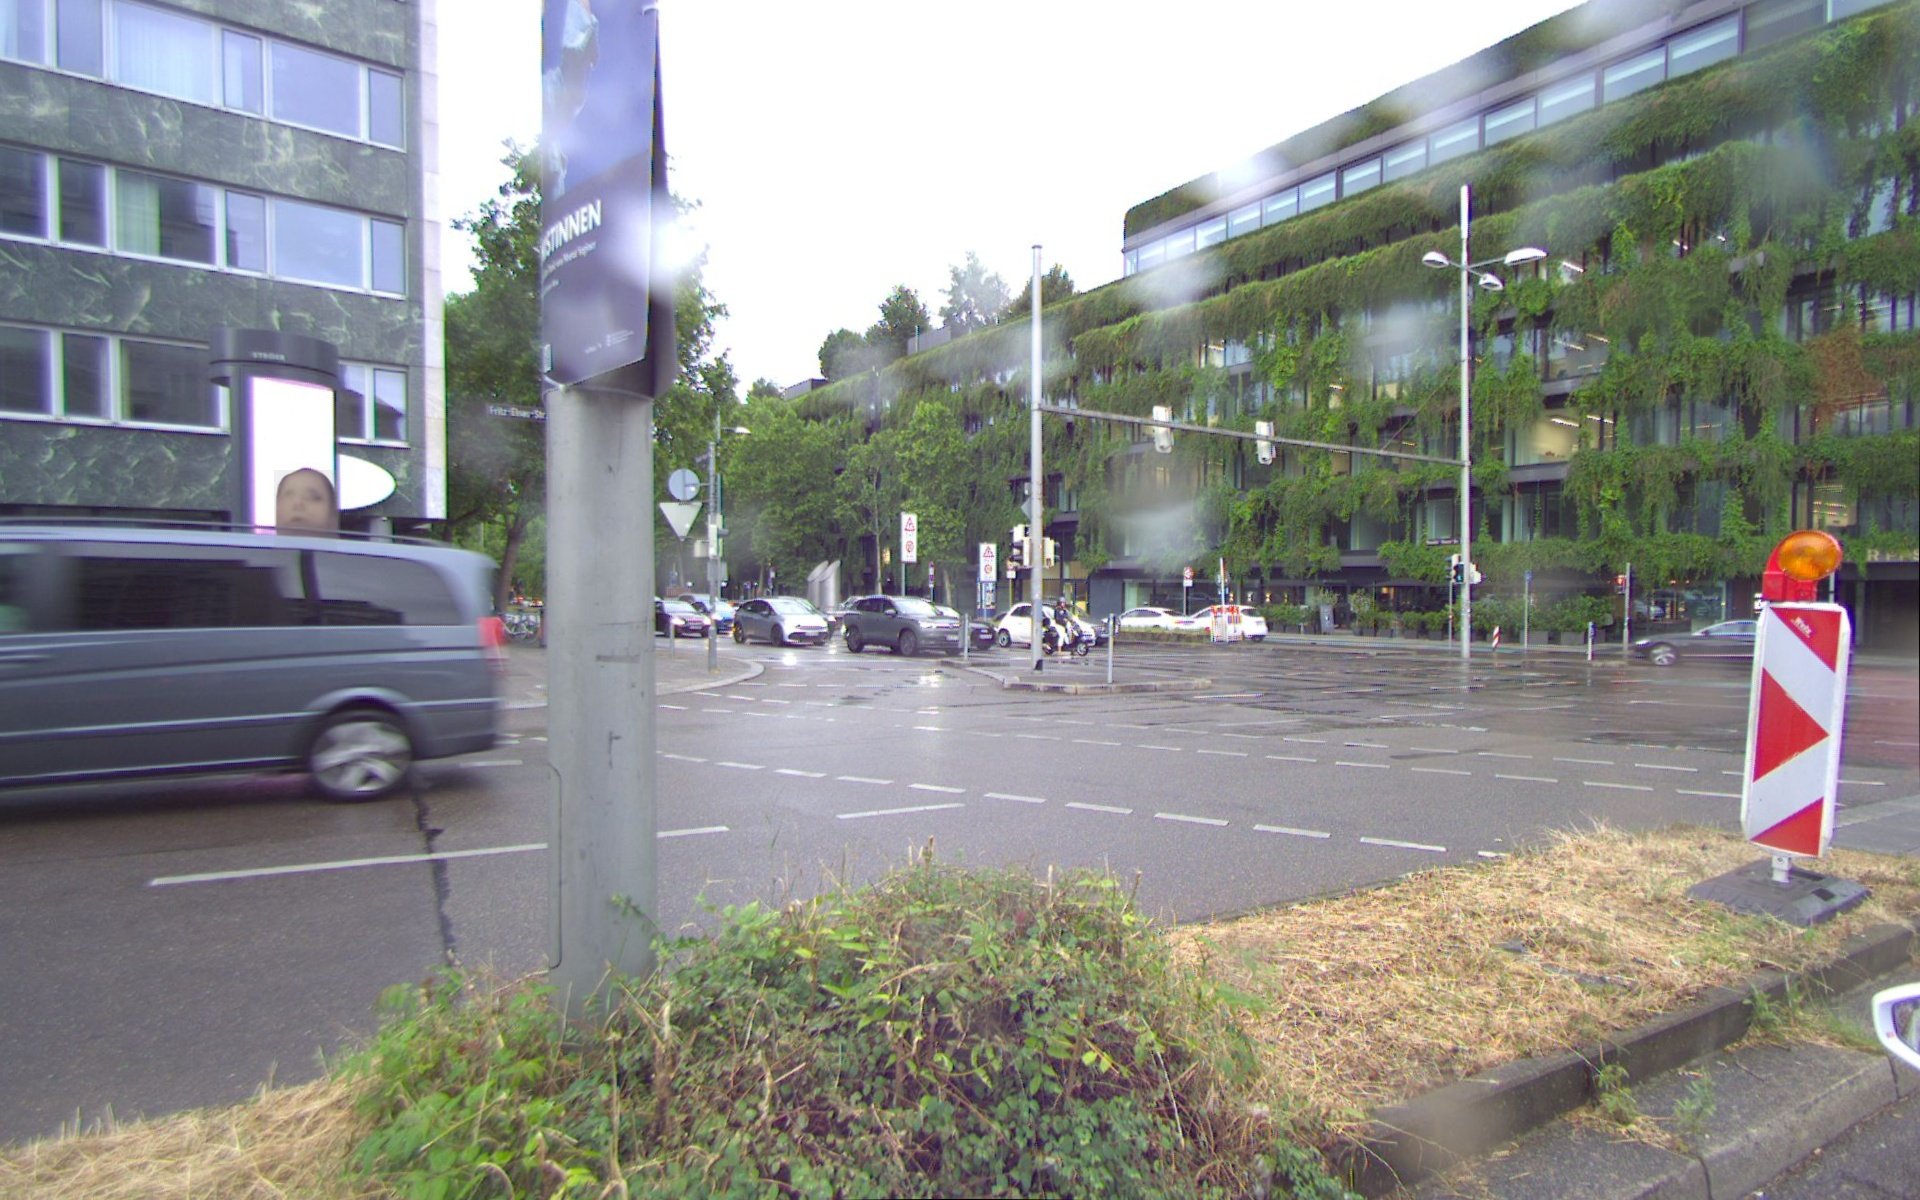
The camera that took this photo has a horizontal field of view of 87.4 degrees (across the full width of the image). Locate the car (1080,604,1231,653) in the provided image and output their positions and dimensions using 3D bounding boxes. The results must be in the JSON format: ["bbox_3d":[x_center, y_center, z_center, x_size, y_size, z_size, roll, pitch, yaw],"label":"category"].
[{"bbox_3d":[6.619,0.933,34.406,4.842,1.508,1.922,1,0,45],"label":"car"}]

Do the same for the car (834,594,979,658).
[{"bbox_3d":[-1.628,0.700,29.182,1.984,1.709,4.314,1,0,-41],"label":"car"}]

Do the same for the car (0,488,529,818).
[{"bbox_3d":[-5.882,0.326,7.025,4.917,1.952,1.980,3,-1,-36],"label":"car"}]

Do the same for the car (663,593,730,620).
[{"bbox_3d":[-13.928,0.334,52.922,1.982,1.389,4.131,1,0,-37],"label":"car"}]

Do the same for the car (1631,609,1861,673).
[{"bbox_3d":[21.723,1.111,27.897,1.987,1.496,4.799,3,-1,-44],"label":"car"}]

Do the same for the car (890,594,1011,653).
[{"bbox_3d":[-0.359,0.708,32.499,1.981,1.773,3.958,1,0,-37],"label":"car"}]

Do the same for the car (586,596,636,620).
[{"bbox_3d":[-23.053,0.524,66.280,1.918,1.544,4.057,1,0,-38],"label":"car"}]

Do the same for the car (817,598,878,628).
[{"bbox_3d":[-6.621,0.726,58.827,1.834,1.692,3.958,1,0,-37],"label":"car"}]

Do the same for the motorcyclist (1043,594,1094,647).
[{"bbox_3d":[3.134,0.581,28.989,1.153,1.492,0.832,2,0,40],"label":"motorcyclist"}]

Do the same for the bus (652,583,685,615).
[{"bbox_3d":[-32.015,-0.161,110.232,1.783,3.385,5.922,2,0,-34],"label":"bus"}]

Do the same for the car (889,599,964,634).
[{"bbox_3d":[-1.814,0.846,52.832,1.837,1.692,3.951,2,0,-41],"label":"car"}]

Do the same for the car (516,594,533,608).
[{"bbox_3d":[-62.749,0.126,144.784,1.975,2.040,3.972,1,0,-27],"label":"car"}]

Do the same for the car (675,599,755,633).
[{"bbox_3d":[-10.960,0.691,44.838,1.982,1.389,4.131,1,0,-37],"label":"car"}]

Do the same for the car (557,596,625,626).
[{"bbox_3d":[-18.012,0.540,48.895,1.982,1.389,4.131,1,0,-37],"label":"car"}]

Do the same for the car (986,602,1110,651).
[{"bbox_3d":[2.873,0.856,33.462,1.981,1.495,3.958,1,0,-37],"label":"car"}]

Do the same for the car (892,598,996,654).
[{"bbox_3d":[-0.670,0.914,37.222,1.978,1.923,4.139,1,0,-33],"label":"car"}]

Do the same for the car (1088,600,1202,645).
[{"bbox_3d":[7.889,0.950,43.162,1.797,1.532,4.640,2,2,-42],"label":"car"}]

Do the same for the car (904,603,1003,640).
[{"bbox_3d":[-0.329,0.840,41.086,1.982,1.389,4.131,1,0,-37],"label":"car"}]

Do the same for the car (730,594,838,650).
[{"bbox_3d":[-6.018,0.697,34.032,1.982,1.773,3.956,1,0,-38],"label":"car"}]

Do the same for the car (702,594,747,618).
[{"bbox_3d":[-17.768,0.469,75.587,1.834,1.692,3.958,2,0,-37],"label":"car"}]

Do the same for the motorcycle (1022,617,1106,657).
[{"bbox_3d":[2.994,1.056,29.101,2.331,1.068,0.830,2,0,41],"label":"motorcycle"}]

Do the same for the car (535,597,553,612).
[{"bbox_3d":[-57.197,0.633,138.158,1.975,2.040,3.972,2,0,-27],"label":"car"}]

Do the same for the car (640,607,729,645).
[{"bbox_3d":[-10.900,1.002,39.622,1.982,1.389,4.131,1,0,-37],"label":"car"}]

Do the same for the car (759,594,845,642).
[{"bbox_3d":[-6.291,0.665,39.667,1.841,1.791,4.139,1,0,-32],"label":"car"}]

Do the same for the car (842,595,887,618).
[{"bbox_3d":[-7.363,0.485,77.244,1.783,1.588,3.962,2,0,-34],"label":"car"}]

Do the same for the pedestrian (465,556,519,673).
[{"bbox_3d":[-8.381,0.259,18.005,0.715,2.040,0.598,1,0,-10],"label":"pedestrian"}]

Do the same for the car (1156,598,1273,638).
[{"bbox_3d":[10.998,0.759,43.601,1.799,1.532,4.636,2,0,-45],"label":"car"}]

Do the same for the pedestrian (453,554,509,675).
[{"bbox_3d":[-8.269,0.255,17.362,0.715,2.040,0.598,1,0,-10],"label":"pedestrian"}]

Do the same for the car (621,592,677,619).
[{"bbox_3d":[-18.681,0.329,60.207,1.918,1.544,4.057,1,0,-38],"label":"car"}]

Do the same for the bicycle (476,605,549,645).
[{"bbox_3d":[-12.298,0.678,27.632,1.765,1.066,0.581,1,0,-35],"label":"bicycle"}]

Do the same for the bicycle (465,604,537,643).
[{"bbox_3d":[-12.976,0.663,28.409,1.765,1.066,0.581,1,0,-35],"label":"bicycle"}]
